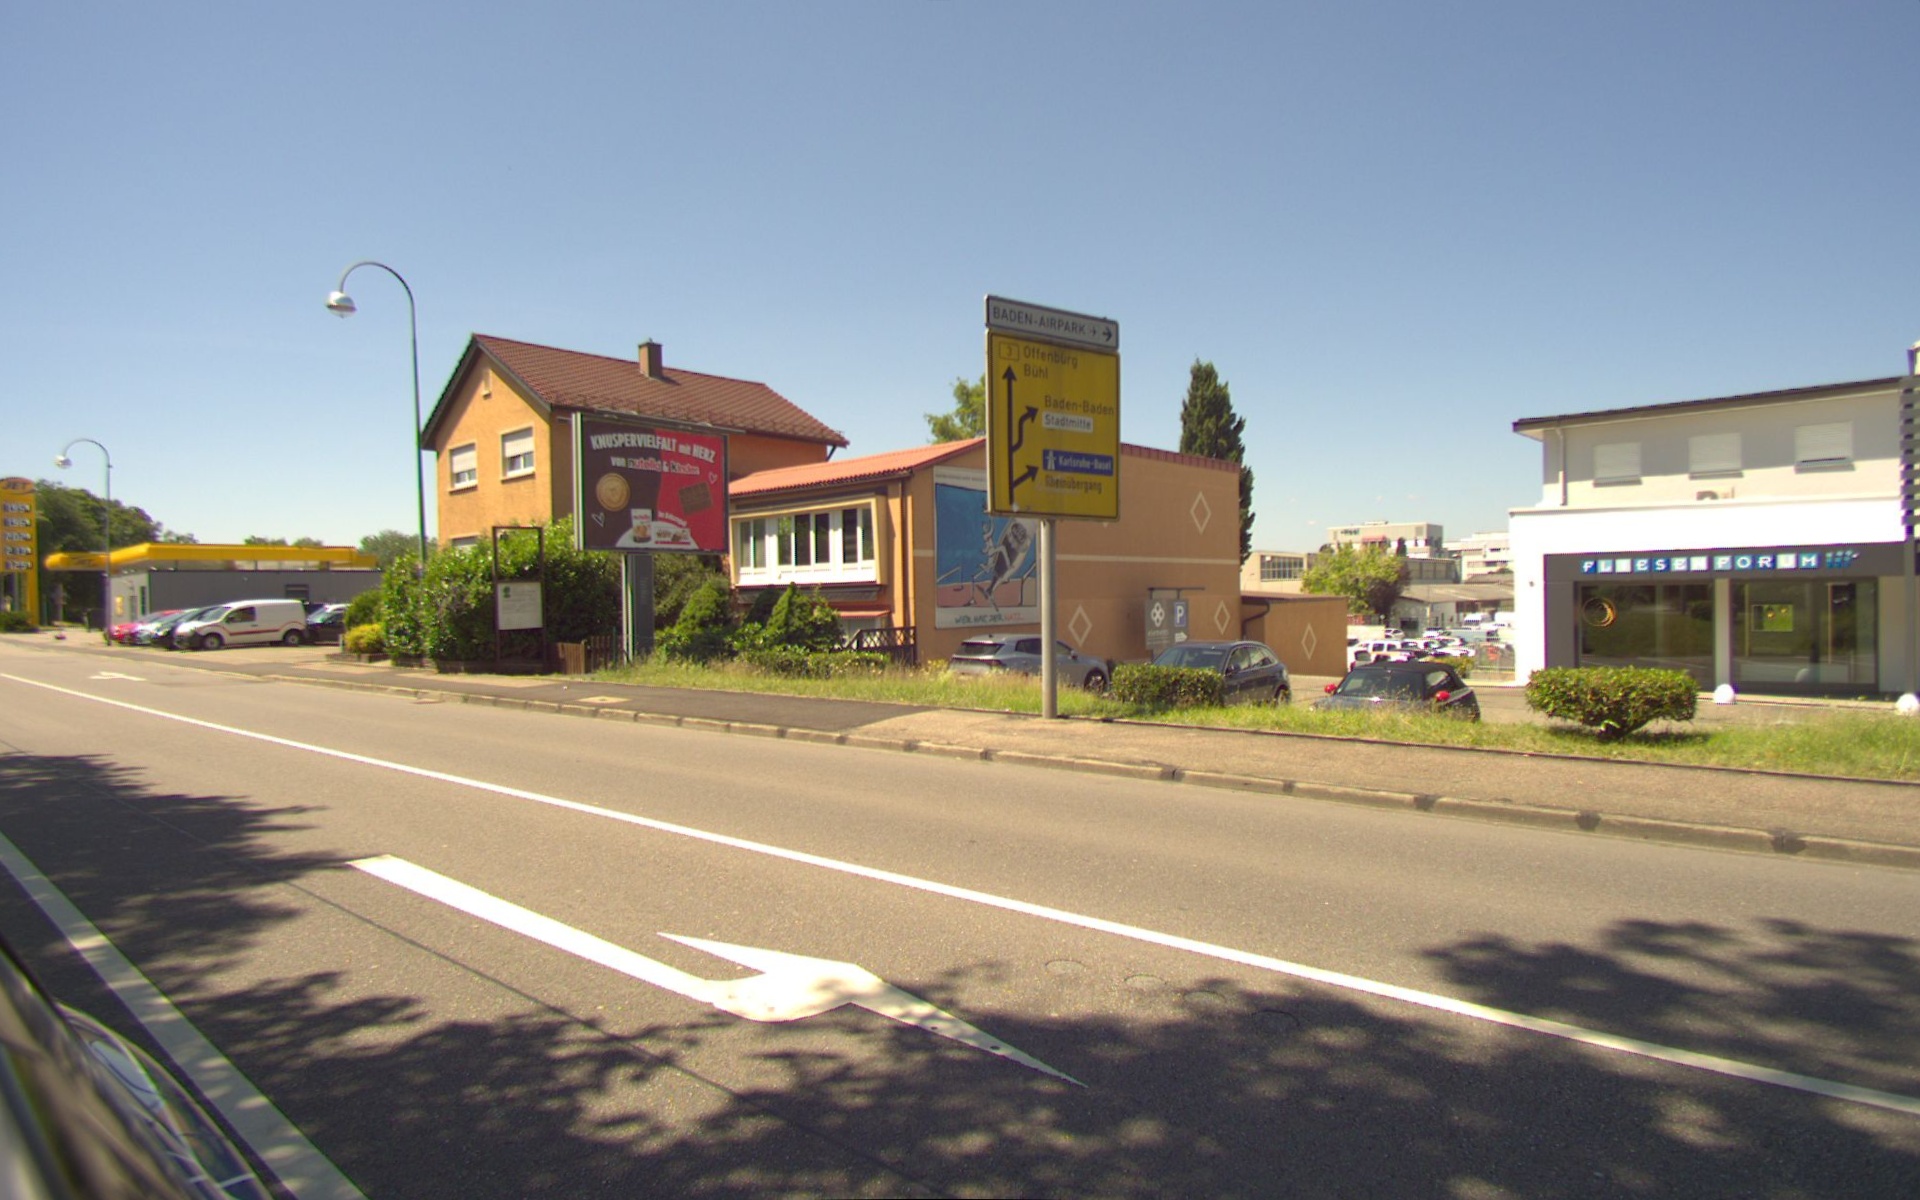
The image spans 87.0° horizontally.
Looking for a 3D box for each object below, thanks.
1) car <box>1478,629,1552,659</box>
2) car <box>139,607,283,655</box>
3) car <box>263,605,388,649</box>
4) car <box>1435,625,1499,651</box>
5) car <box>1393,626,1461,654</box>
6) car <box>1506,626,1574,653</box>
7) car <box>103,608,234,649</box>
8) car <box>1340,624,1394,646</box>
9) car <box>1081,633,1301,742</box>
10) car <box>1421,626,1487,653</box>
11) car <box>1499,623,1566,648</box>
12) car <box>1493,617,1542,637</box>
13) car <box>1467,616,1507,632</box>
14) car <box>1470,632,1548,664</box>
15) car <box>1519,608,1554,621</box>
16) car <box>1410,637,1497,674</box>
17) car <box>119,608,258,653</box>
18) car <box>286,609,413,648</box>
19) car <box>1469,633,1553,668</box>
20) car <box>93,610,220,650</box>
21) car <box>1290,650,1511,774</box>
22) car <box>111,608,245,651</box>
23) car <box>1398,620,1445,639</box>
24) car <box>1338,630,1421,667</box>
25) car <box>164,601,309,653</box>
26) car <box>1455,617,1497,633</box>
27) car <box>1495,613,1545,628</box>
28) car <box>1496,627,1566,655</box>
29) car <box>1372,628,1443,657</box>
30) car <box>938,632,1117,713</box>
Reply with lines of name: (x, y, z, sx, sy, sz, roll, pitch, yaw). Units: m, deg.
car: (34.957, 2.748, 63.754, 3.774, 1.768, 1.707, -1, -1, 44)
car: (-29.375, 1.174, 39.790, 1.871, 1.773, 4.198, -1, -1, 35)
car: (-28.003, 1.151, 44.784, 1.871, 1.839, 4.351, 0, 0, 35)
car: (36.516, 2.723, 72.961, 3.774, 1.768, 1.707, -1, -1, 44)
car: (31.105, 2.645, 67.432, 3.774, 1.768, 1.707, -1, -1, 44)
car: (39.892, 2.682, 69.661, 3.774, 1.768, 1.707, -1, -1, 44)
car: (-35.919, 1.259, 46.014, 1.871, 1.773, 4.351, -1, -1, 35)
car: (34.011, 2.938, 84.613, 3.774, 1.768, 1.707, -1, -1, 44)
car: (4.332, 1.481, 18.572, 4.462, 1.654, 1.772, 0, -1, -44)
car: (34.489, 2.747, 70.724, 3.774, 1.768, 1.707, -1, -1, 44)
car: (42.761, 2.637, 75.622, 4.055, 1.768, 1.707, -1, -1, 44)
car: (53.053, 2.574, 96.318, 3.774, 1.768, 1.707, -1, 0, 44)
car: (61.080, 2.765, 117.403, 3.774, 1.768, 1.707, -1, 1, 44)
car: (32.503, 2.785, 59.950, 3.774, 1.768, 1.707, -1, -1, 44)
car: (77.286, 1.949, 135.728, 3.774, 1.768, 1.707, -1, -1, 44)
car: (25.832, 2.874, 53.016, 3.774, 1.768, 1.707, -1, -1, 44)
car: (-32.656, 1.254, 42.969, 1.871, 1.773, 4.351, -1, -1, 35)
car: (-26.170, 1.177, 43.519, 1.871, 1.575, 4.351, -1, -1, 35)
car: (30.346, 2.734, 55.768, 3.774, 1.768, 1.707, -1, -1, 44)
car: (-37.786, 1.380, 47.707, 1.871, 1.773, 4.351, -1, -1, 35)
car: (7.053, 1.653, 16.018, 4.039, 1.544, 1.772, 0, -1, -44)
car: (-34.359, 1.264, 44.570, 1.871, 1.773, 4.351, -1, -1, 35)
car: (44.241, 2.841, 97.015, 3.774, 1.768, 1.707, -1, 0, 44)
car: (24.255, 2.759, 58.583, 4.001, 2.029, 1.971, -1, -1, 44)
car: (-27.593, 0.998, 38.694, 1.871, 1.883, 4.143, -1, -1, 35)
car: (57.315, 2.799, 112.486, 1.706, 1.768, 3.775, -1, -1, -45)
car: (71.755, 2.624, 129.674, 5.303, 1.768, 2.037, -1, -1, 44)
car: (38.168, 2.704, 67.723, 3.774, 1.768, 1.707, -1, -1, 44)
car: (28.296, 2.656, 64.047, 3.774, 1.768, 1.707, -1, -1, 44)
car: (1.635, 1.604, 23.612, 4.165, 1.621, 1.773, 0, -1, -42)
